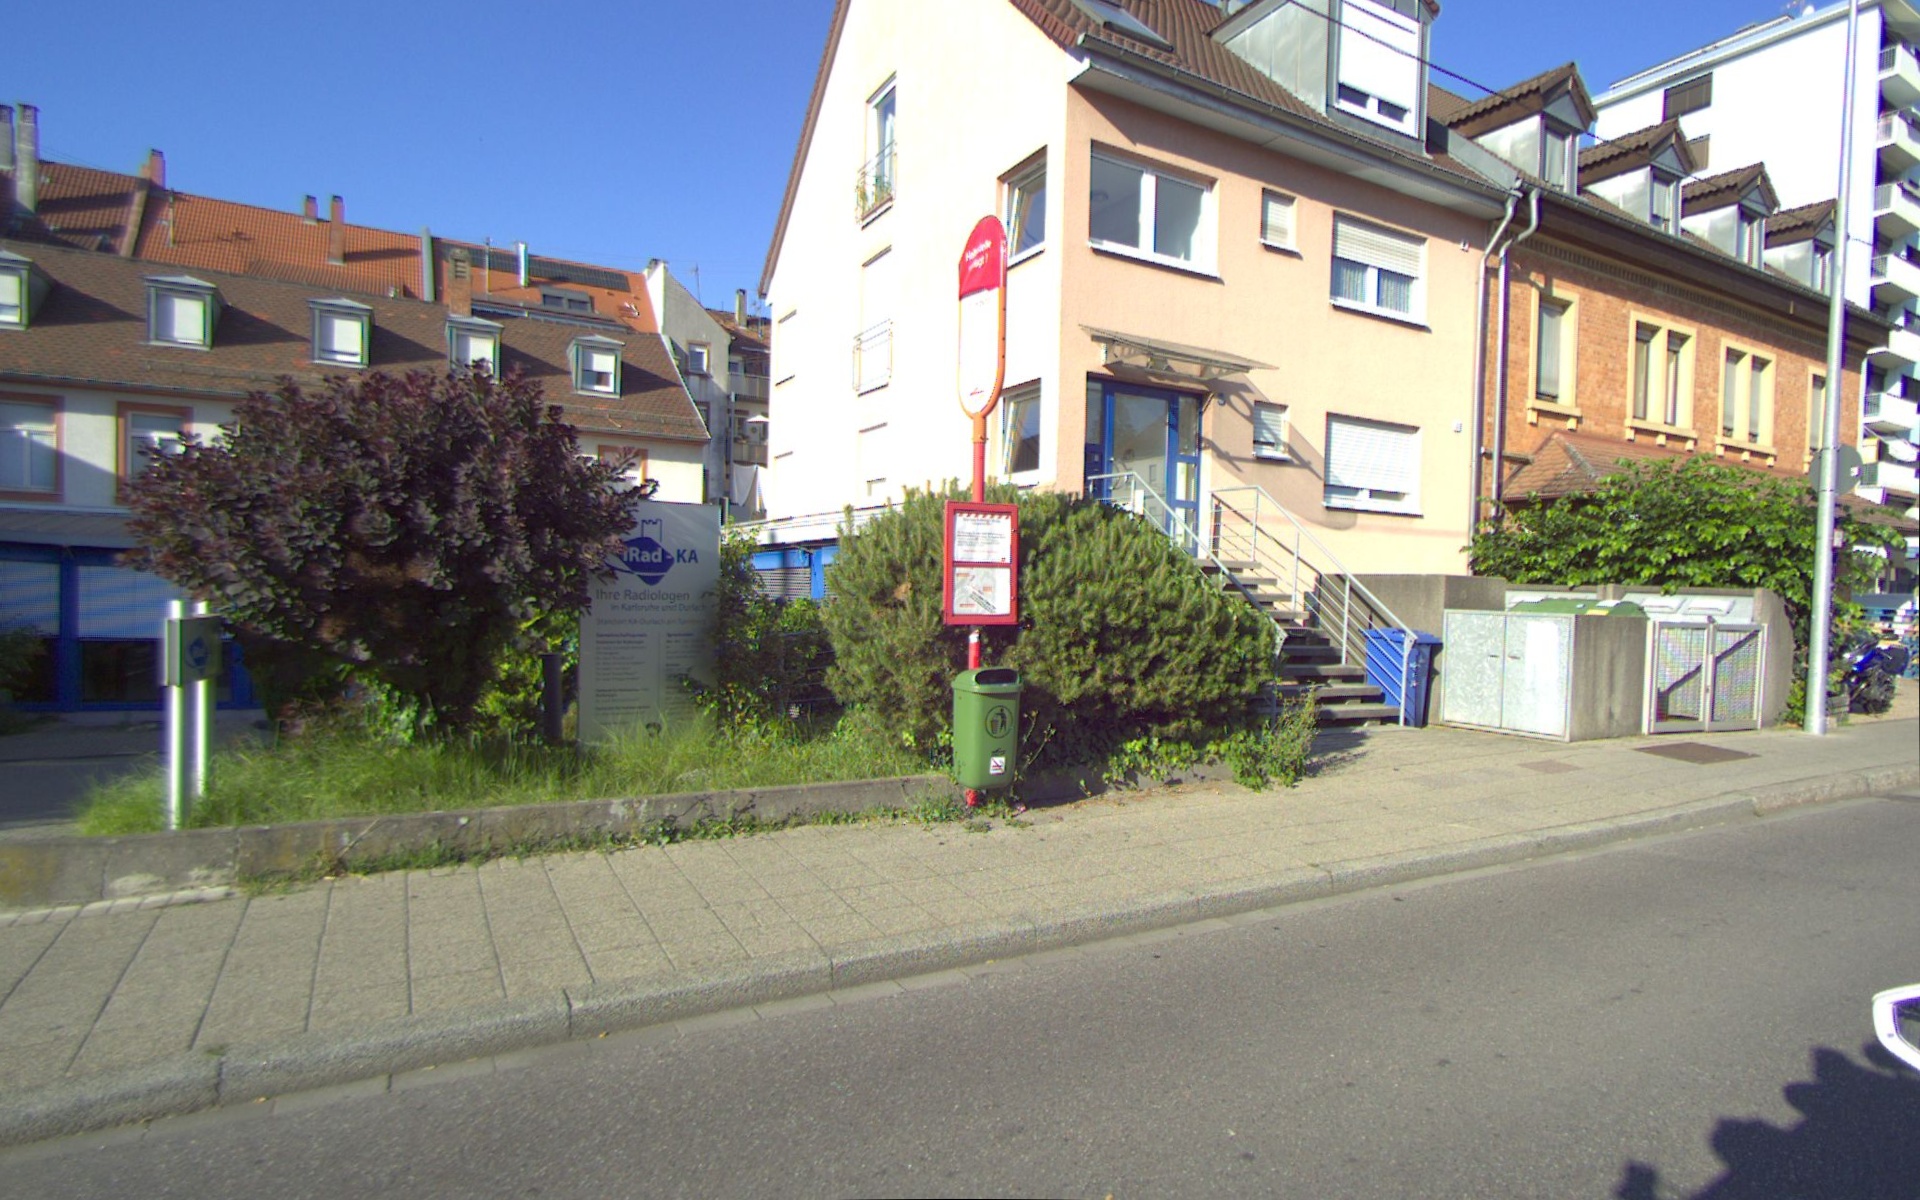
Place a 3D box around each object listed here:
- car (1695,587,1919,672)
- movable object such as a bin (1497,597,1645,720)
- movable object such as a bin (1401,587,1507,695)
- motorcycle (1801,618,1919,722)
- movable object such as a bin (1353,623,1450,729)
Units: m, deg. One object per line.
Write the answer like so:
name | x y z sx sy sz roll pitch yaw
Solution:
car | 22.019 0.675 25.869 1.977 1.959 4.590 1 1 -31
movable object such as a bin | 7.761 0.705 12.794 0.981 1.449 1.299 1 1 -33
movable object such as a bin | 6.983 0.557 14.222 1.031 1.449 0.916 1 1 -32
motorcycle | 12.621 0.927 13.902 2.208 1.299 0.834 1 2 -33
movable object such as a bin | 4.859 0.815 11.075 0.594 1.080 0.755 1 1 -29
